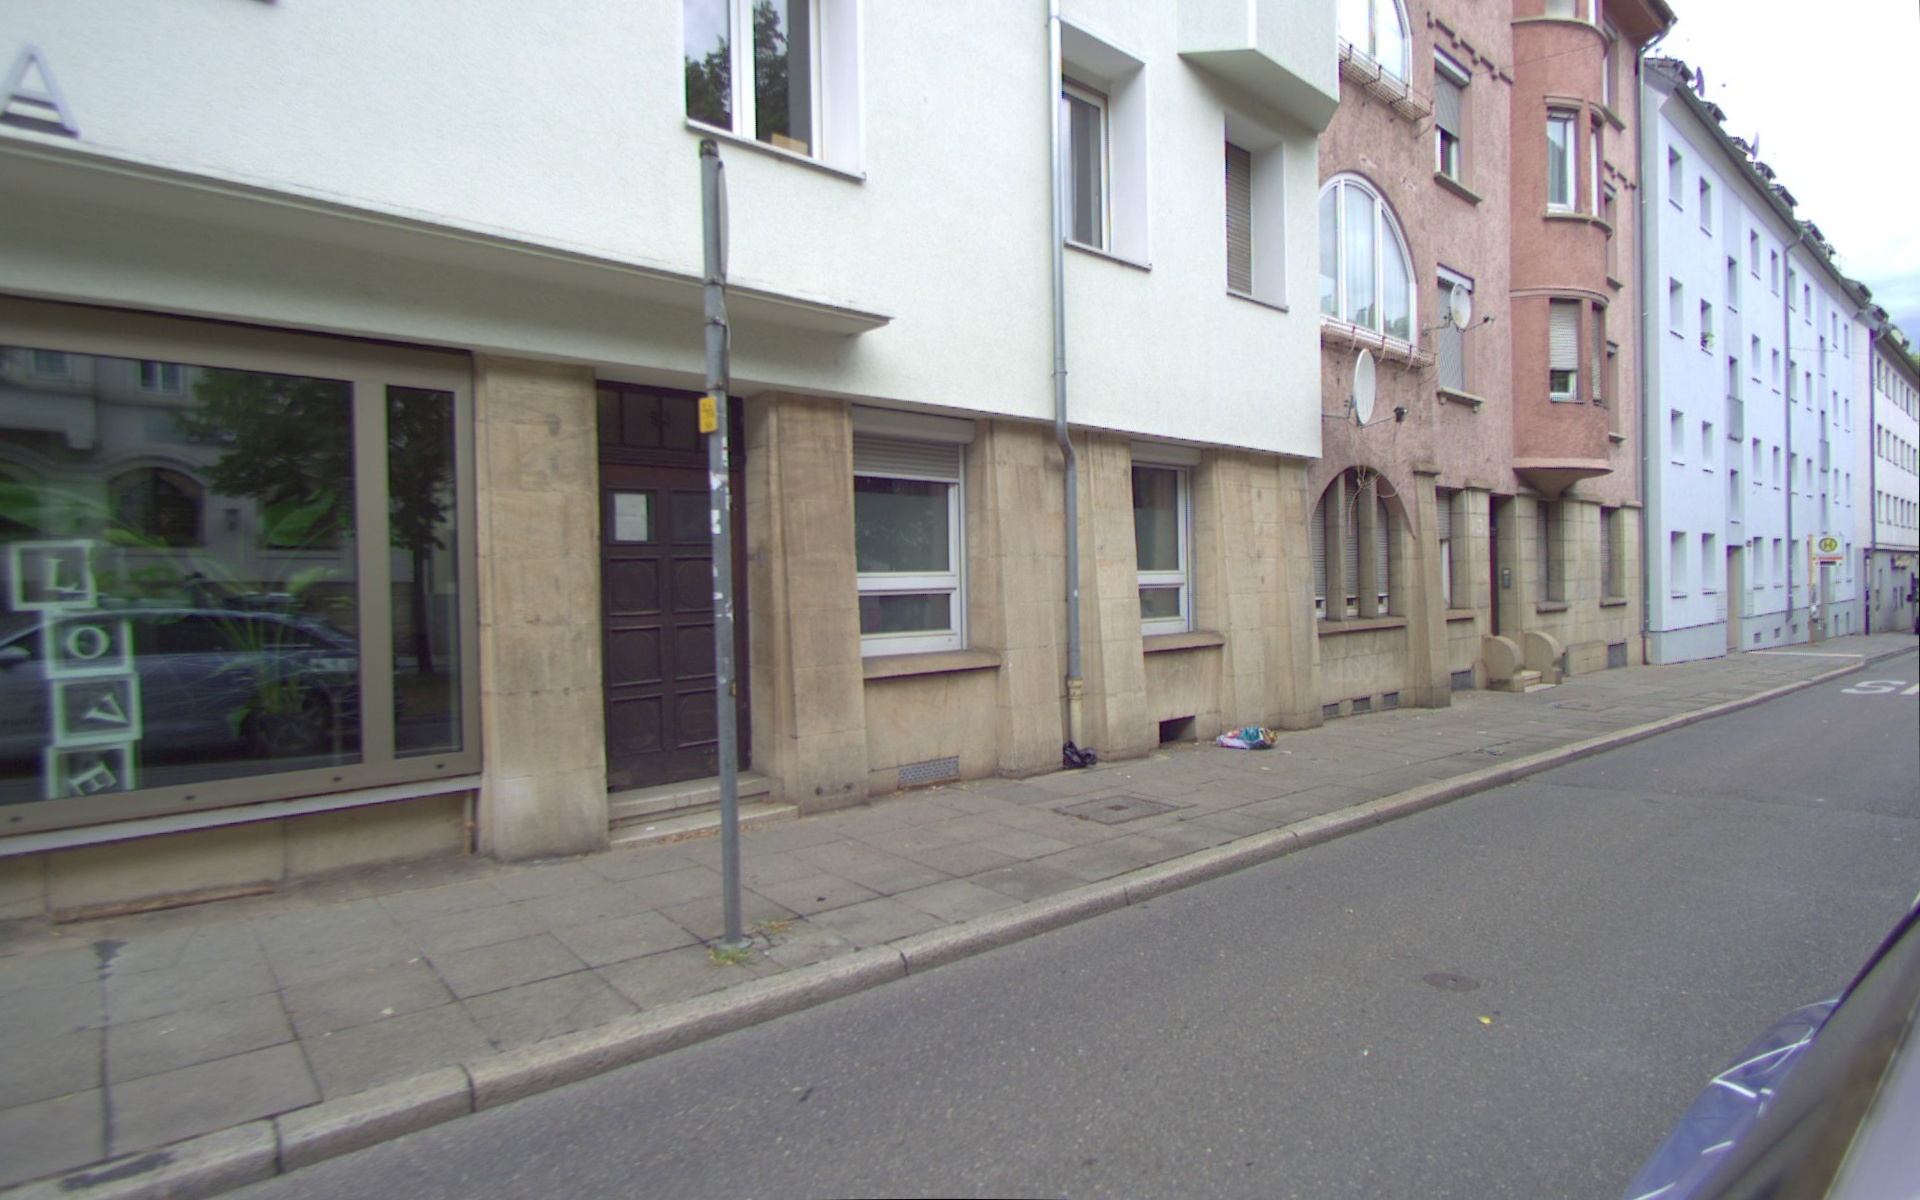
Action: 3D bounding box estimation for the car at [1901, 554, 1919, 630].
[{"bbox_3d":[42.557,-0.390,43.165,7.048,3.100,3.022,-1,1,-43],"label":"car"}]
